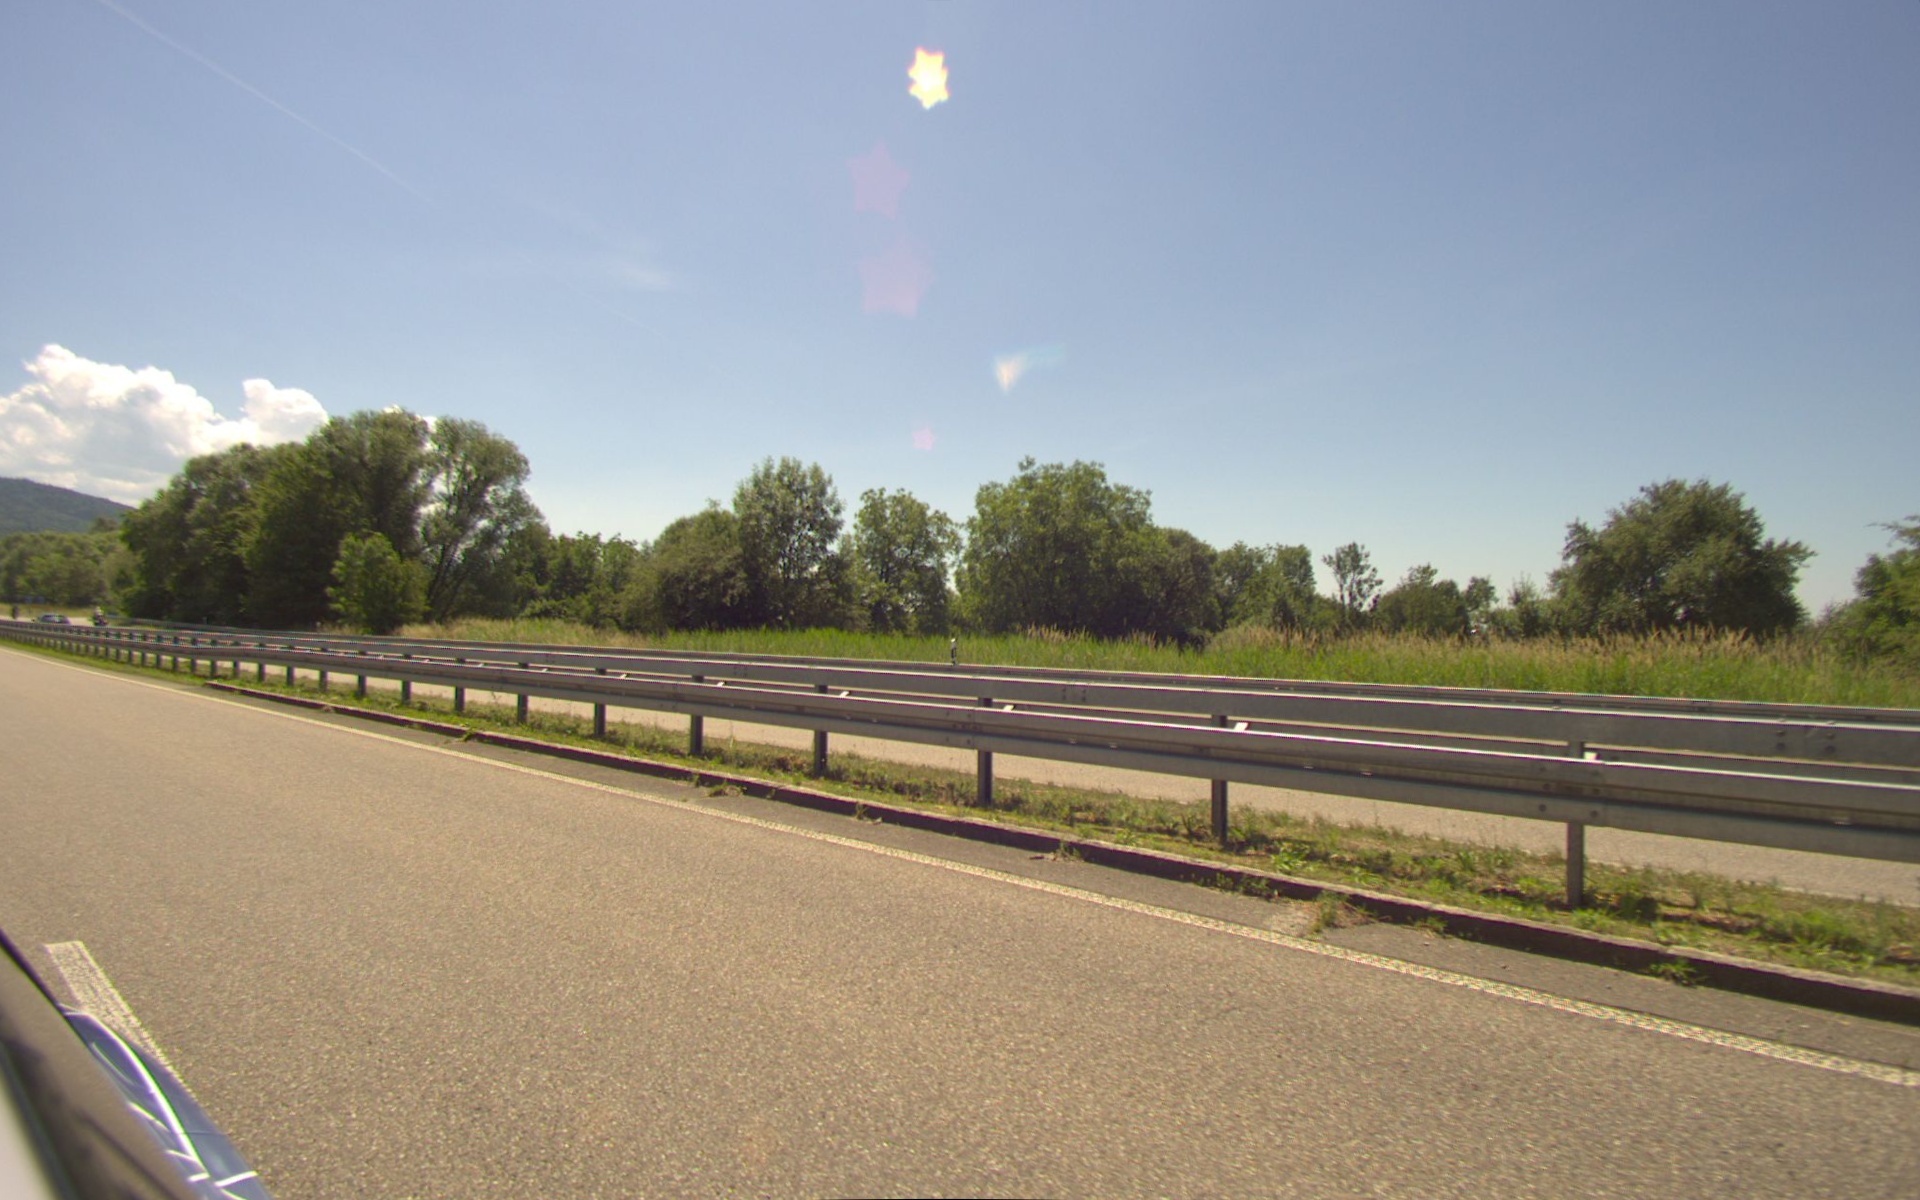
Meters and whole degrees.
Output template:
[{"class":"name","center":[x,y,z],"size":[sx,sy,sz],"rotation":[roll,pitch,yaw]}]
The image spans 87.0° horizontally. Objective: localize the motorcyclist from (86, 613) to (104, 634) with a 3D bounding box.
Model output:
[{"class":"motorcyclist","center":[-68.180,1.864,79.768],"size":[0.809,1.629,0.935],"rotation":[-1,-3,41]}]

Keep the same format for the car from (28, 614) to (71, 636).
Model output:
[{"class":"car","center":[-58.130,1.582,64.597],"size":[3.534,1.342,1.611],"rotation":[-1,-1,42]}]

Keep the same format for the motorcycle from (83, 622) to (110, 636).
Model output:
[{"class":"motorcycle","center":[-67.999,2.296,79.670],"size":[3.817,1.072,1.052],"rotation":[-1,-3,42]}]

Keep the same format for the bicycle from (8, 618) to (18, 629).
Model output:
[{"class":"bicycle","center":[-106.101,2.663,113.377],"size":[2.279,1.166,0.607],"rotation":[0,-1,42]}]

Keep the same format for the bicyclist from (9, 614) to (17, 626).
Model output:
[{"class":"bicyclist","center":[-106.099,2.236,113.361],"size":[0.608,1.287,0.607],"rotation":[-1,-1,41]}]
